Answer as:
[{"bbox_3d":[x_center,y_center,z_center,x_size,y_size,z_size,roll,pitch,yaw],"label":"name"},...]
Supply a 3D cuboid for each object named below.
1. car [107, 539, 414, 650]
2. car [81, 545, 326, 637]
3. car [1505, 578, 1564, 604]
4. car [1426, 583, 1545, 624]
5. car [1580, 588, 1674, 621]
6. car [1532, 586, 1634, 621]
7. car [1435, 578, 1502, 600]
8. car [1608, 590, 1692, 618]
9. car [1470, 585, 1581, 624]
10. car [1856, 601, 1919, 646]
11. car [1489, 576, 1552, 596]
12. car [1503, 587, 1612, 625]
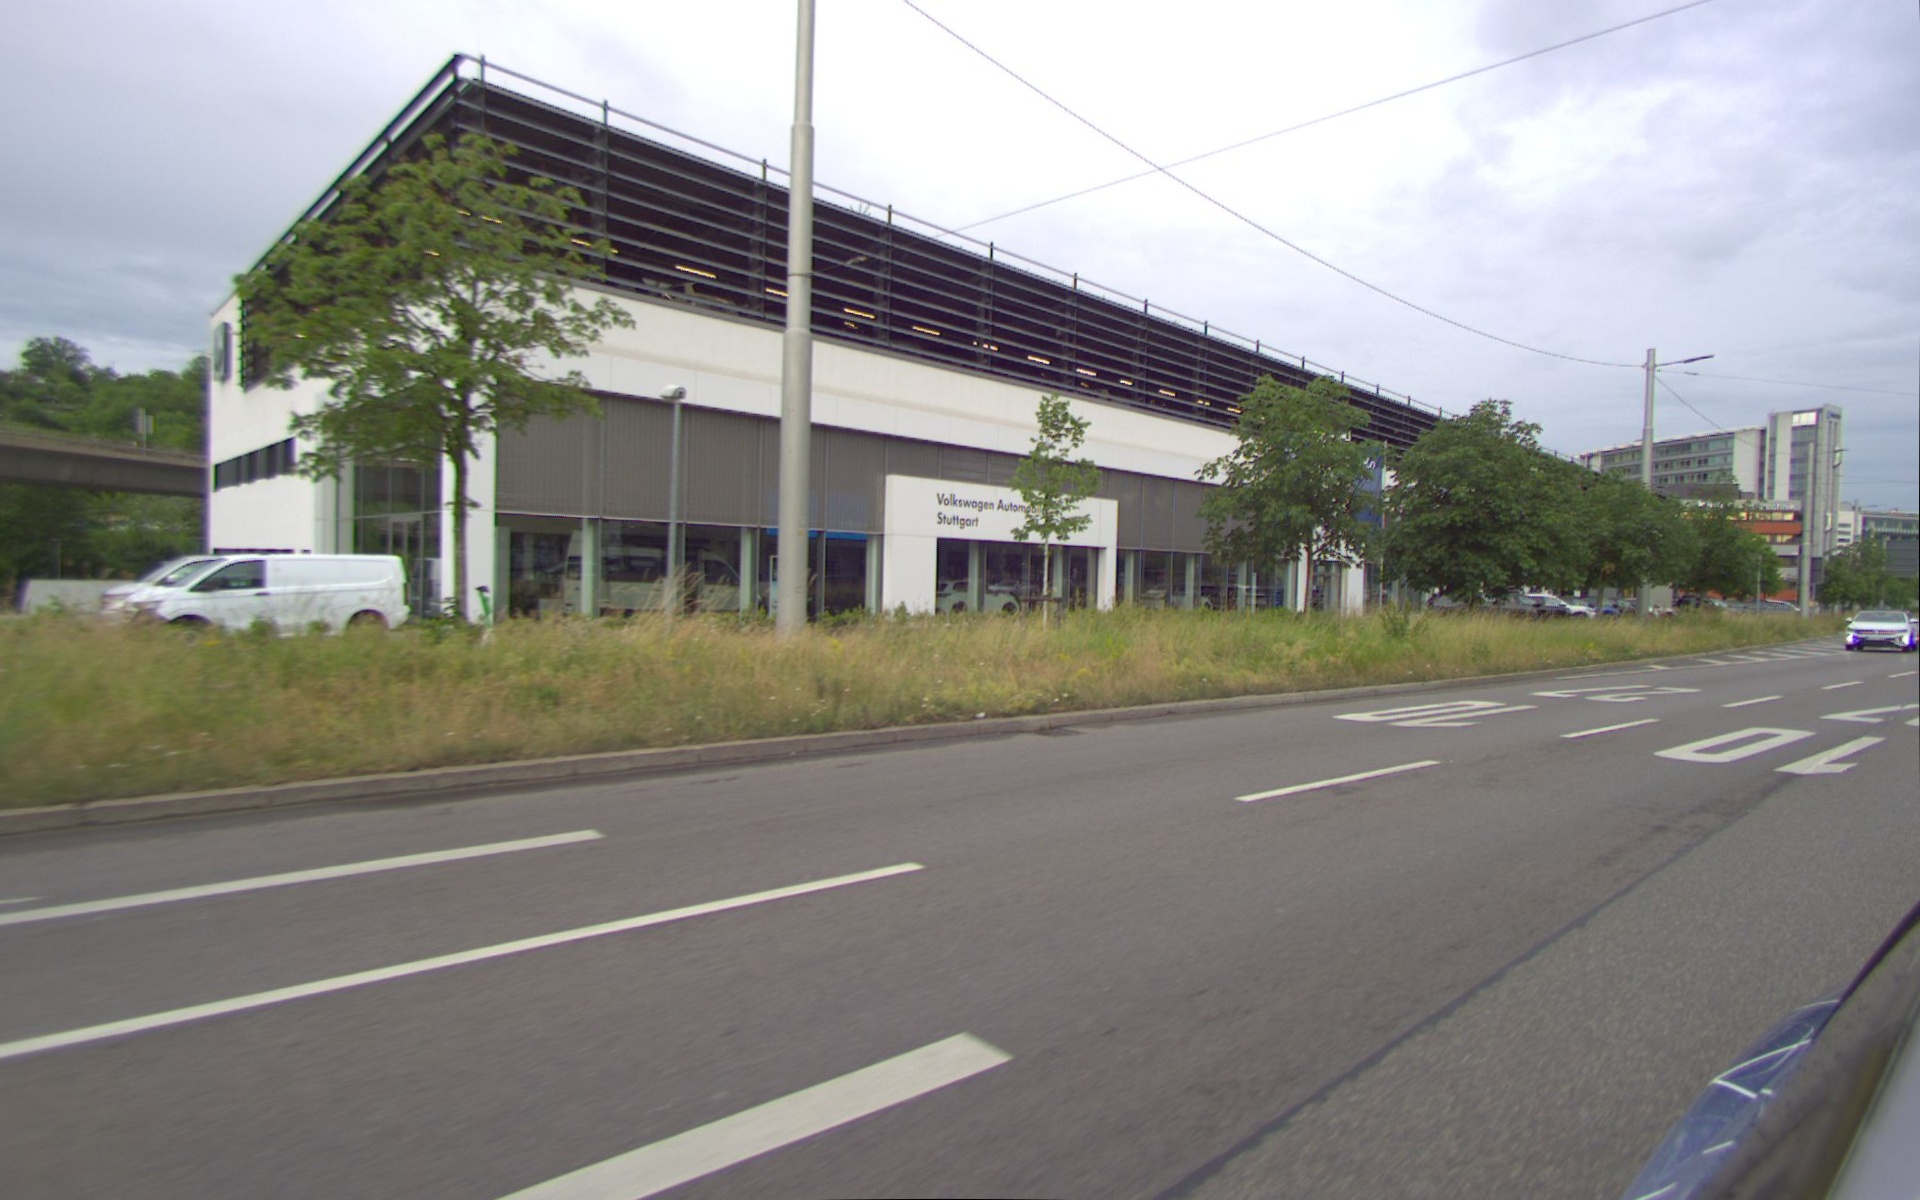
[{"bbox_3d":[-14.481,-0.106,21.186,2.044,2.039,5.009,1,1,44],"label":"car"},{"bbox_3d":[-18.703,-0.191,25.189,1.945,2.077,4.633,-1,-1,43],"label":"car"},{"bbox_3d":[49.410,-0.780,87.070,1.913,2.000,4.030,0,2,-45],"label":"car"},{"bbox_3d":[24.378,0.129,47.116,4.562,1.587,1.843,3,3,16],"label":"car"},{"bbox_3d":[38.530,0.233,58.538,4.034,1.587,1.795,3,3,10],"label":"car"},{"bbox_3d":[32.854,0.163,53.453,4.125,1.587,1.794,3,3,12],"label":"car"},{"bbox_3d":[36.941,-0.765,73.570,1.755,1.527,3.992,0,-1,-42],"label":"car"},{"bbox_3d":[44.630,0.250,65.584,4.039,1.483,1.742,3,3,13],"label":"car"},{"bbox_3d":[27.485,0.188,49.314,4.313,1.587,1.792,3,3,15],"label":"car"},{"bbox_3d":[33.953,0.831,36.683,3.772,1.513,1.876,1,1,-44],"label":"car"},{"bbox_3d":[43.647,-1.110,78.853,1.735,1.442,3.990,0,2,-45],"label":"car"},{"bbox_3d":[30.216,0.273,51.310,4.295,1.646,1.848,3,3,16],"label":"car"}]
